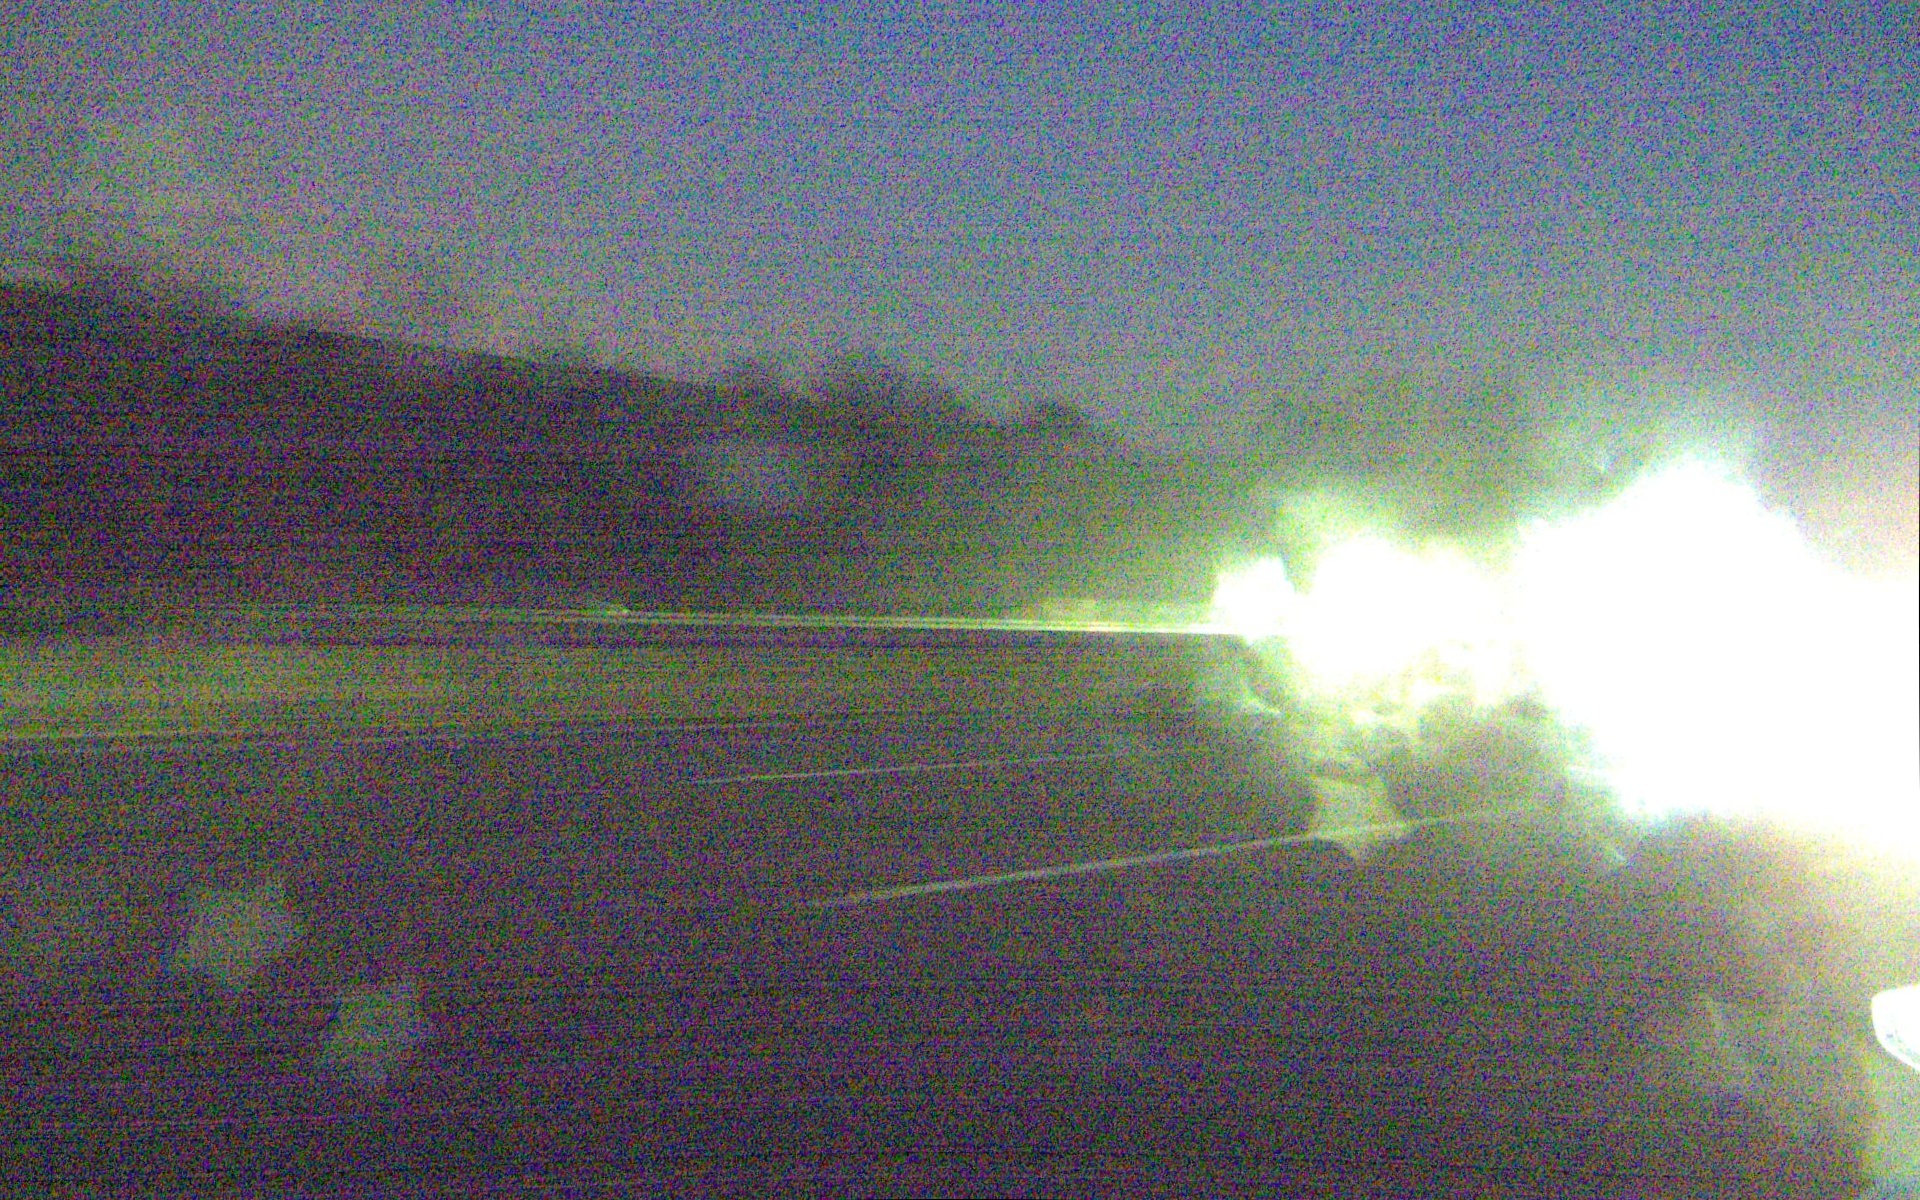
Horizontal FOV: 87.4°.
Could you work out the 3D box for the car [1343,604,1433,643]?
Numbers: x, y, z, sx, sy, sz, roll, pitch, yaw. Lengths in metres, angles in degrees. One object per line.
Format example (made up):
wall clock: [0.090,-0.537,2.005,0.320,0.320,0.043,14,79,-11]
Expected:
car: [18.297,1.017,42.958,3.662,1.510,1.652,2,2,-31]

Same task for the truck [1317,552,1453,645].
truck: [20.548,-0.066,48.481,6.197,4.145,2.713,2,3,-31]

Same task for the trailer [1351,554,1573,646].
trailer: [26.284,0.144,52.010,14.692,4.145,2.713,2,2,-31]

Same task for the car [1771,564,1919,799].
car: [10.451,0.784,10.081,4.959,2.040,1.984,2,-1,-31]

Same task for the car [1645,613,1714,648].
car: [45.968,1.962,64.171,4.356,2.041,1.982,2,3,-32]
